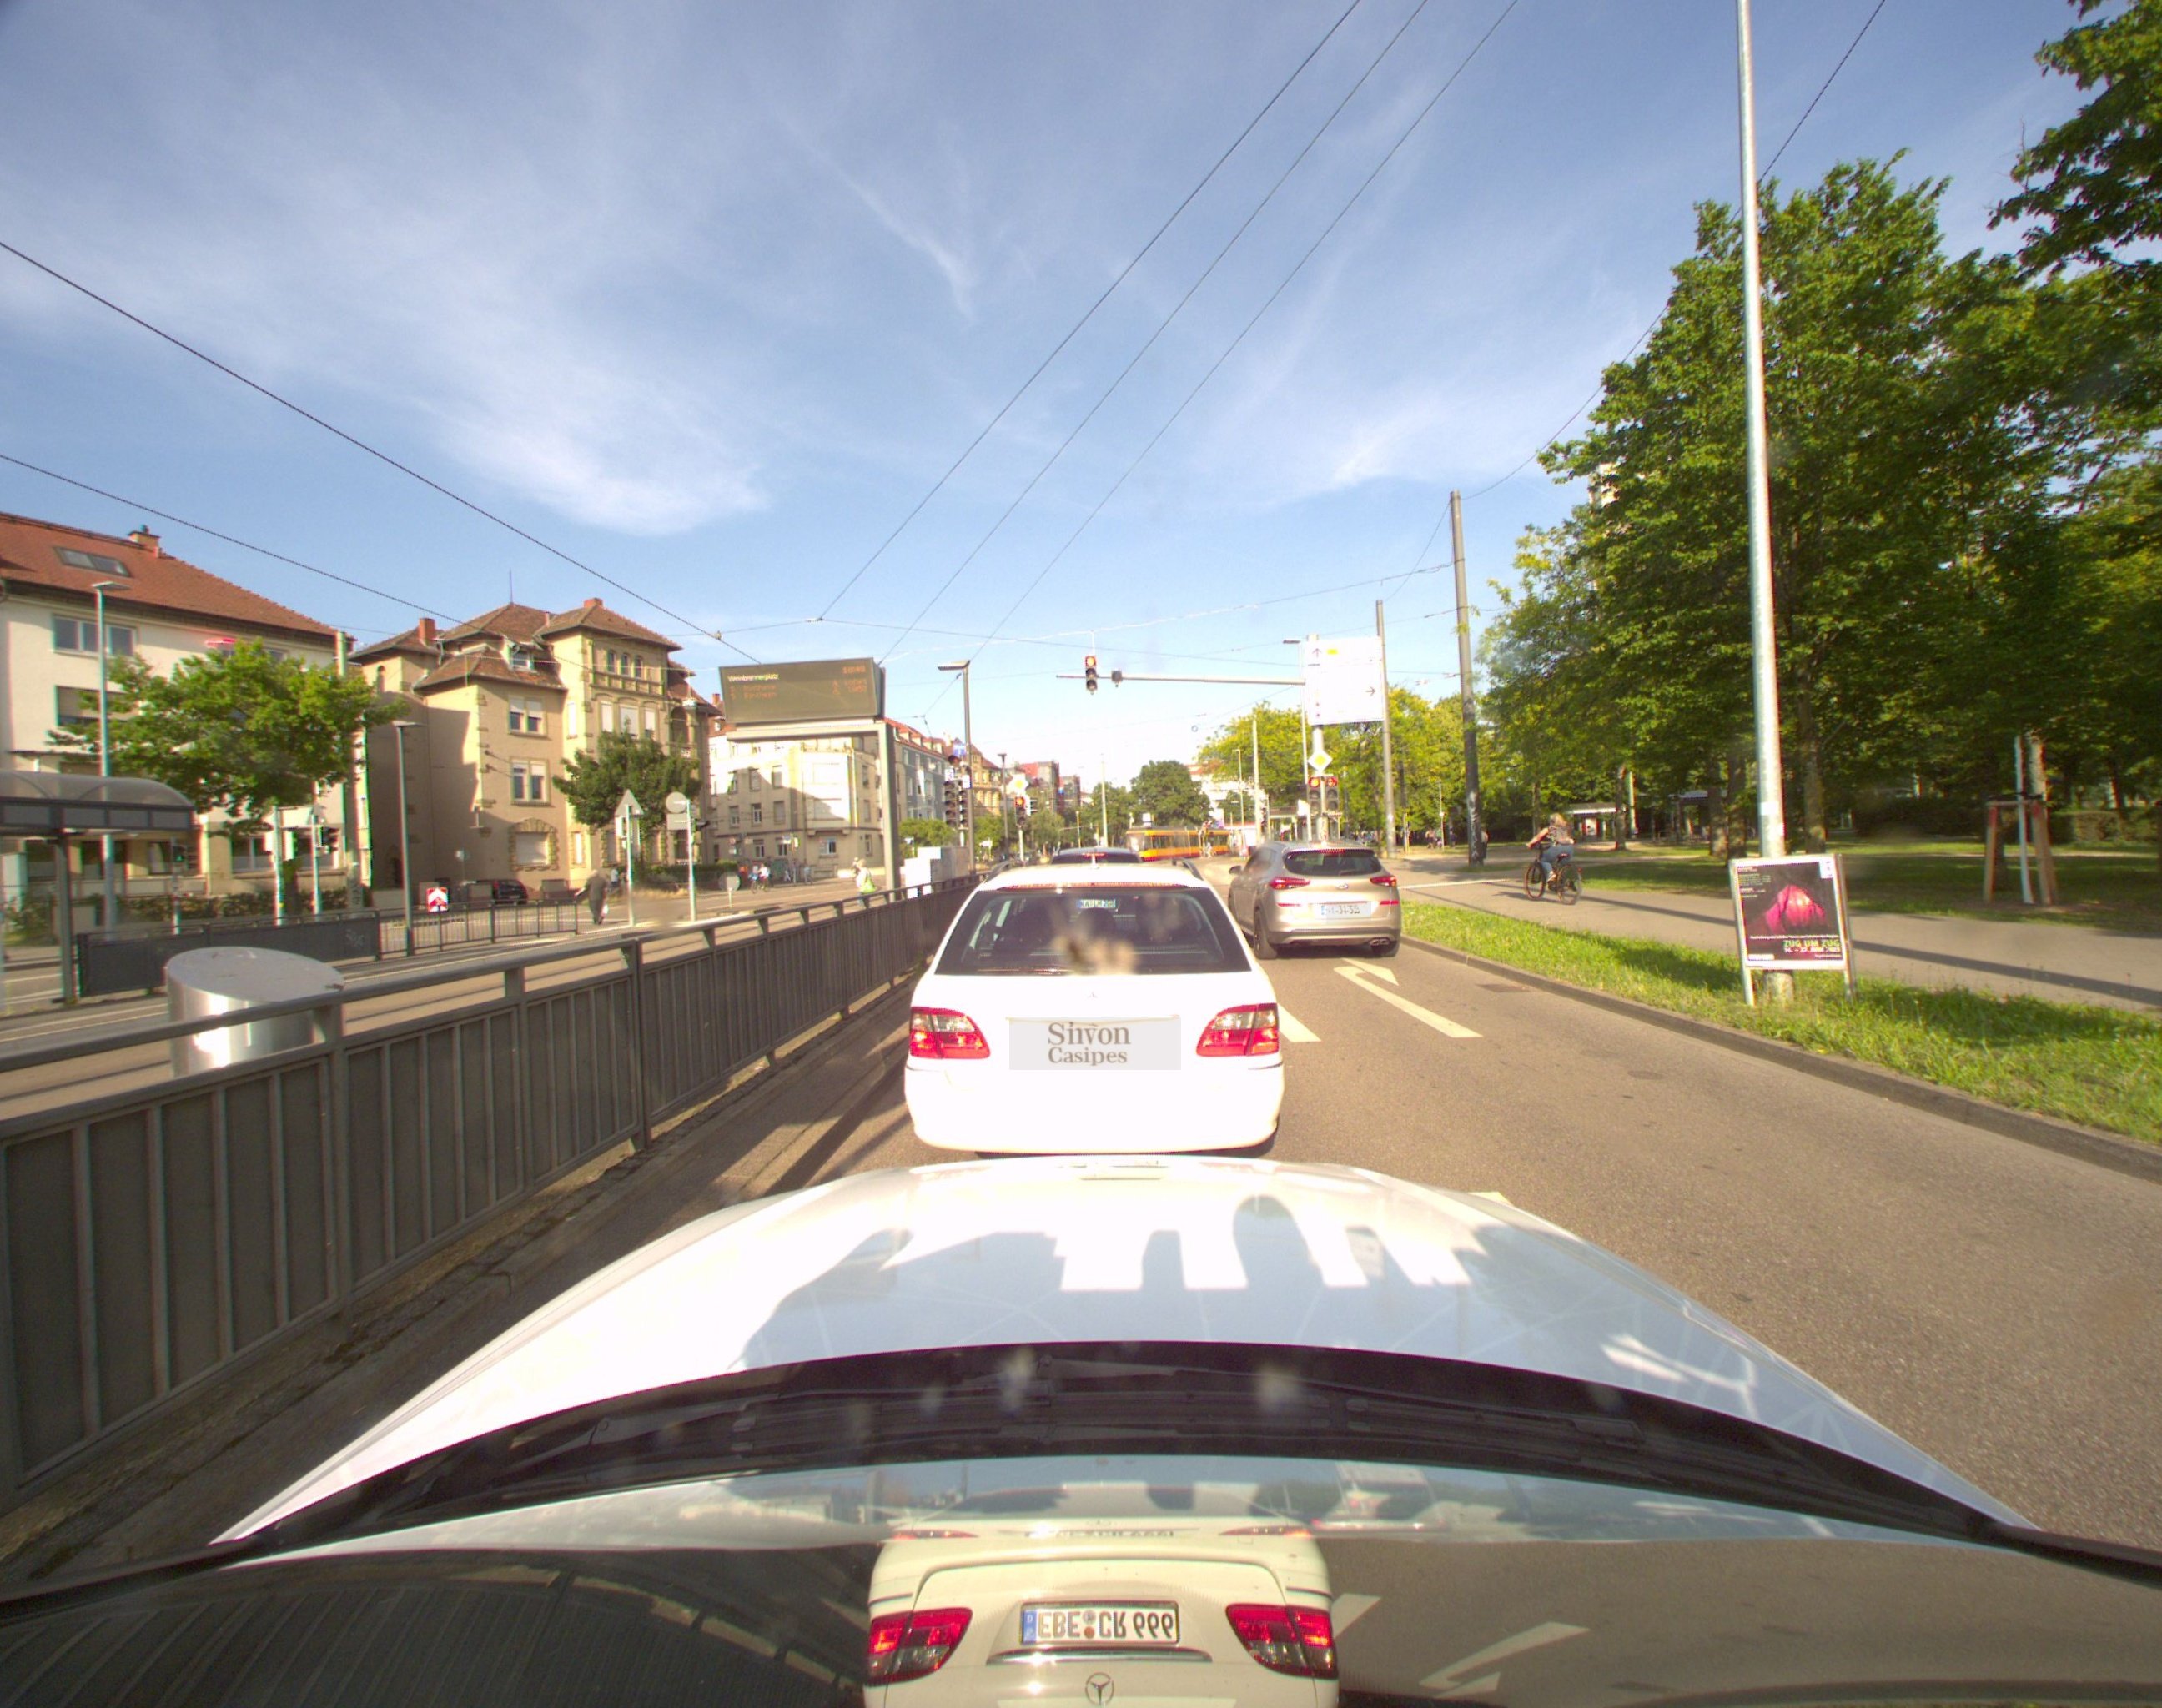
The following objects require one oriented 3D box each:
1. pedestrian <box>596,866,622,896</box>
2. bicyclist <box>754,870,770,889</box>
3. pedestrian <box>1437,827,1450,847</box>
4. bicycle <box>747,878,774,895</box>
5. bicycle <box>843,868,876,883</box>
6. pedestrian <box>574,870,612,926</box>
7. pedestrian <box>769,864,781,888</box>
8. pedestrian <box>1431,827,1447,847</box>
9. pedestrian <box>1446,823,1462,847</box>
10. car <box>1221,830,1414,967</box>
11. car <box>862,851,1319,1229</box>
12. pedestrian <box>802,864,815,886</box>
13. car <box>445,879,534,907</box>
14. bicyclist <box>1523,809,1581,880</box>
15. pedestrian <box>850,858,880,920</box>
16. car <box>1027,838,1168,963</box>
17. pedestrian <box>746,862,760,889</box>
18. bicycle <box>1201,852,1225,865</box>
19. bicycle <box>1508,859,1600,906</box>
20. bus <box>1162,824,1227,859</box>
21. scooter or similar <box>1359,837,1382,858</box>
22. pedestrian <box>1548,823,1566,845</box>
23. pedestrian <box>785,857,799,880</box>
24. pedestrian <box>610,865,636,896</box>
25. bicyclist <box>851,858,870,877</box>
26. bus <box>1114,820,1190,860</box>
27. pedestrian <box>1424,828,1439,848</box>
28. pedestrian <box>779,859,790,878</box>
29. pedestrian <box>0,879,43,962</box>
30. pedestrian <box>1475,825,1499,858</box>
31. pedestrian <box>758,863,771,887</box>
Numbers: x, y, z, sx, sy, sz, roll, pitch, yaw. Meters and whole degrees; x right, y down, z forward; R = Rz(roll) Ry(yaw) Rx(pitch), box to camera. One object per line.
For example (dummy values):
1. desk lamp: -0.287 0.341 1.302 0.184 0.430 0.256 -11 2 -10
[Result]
1. pedestrian: -24.990 1.420 43.131 0.822 1.552 0.786 -3 0 23
2. bicyclist: -17.980 1.428 45.905 0.509 1.044 0.682 -3 0 14
3. pedestrian: 27.747 -1.306 62.388 0.805 1.487 0.705 -3 0 26
4. bicycle: -17.998 1.802 45.772 0.522 0.834 1.692 -3 0 13
5. bicycle: -15.584 1.487 57.419 0.778 0.914 3.010 -3 0 15
6. pedestrian: -15.001 1.351 25.021 0.798 1.645 0.748 -3 0 -42
7. pedestrian: -19.662 1.415 52.377 0.530 1.500 0.391 -3 0 16
8. pedestrian: 28.082 -1.326 63.893 0.813 1.487 0.698 -3 0 -9
9. pedestrian: 29.097 -1.480 63.514 0.797 1.785 0.838 -3 0 -3
10. car: 3.324 0.564 12.217 1.878 1.651 3.649 -3 0 2
11. car: 0.089 0.737 5.065 1.789 1.470 3.649 -1 0 2
12. pedestrian: -19.368 1.477 57.876 0.626 1.541 0.711 -3 0 1
13. car: -29.471 1.906 40.563 4.066 1.310 1.774 -1 -1 24
14. bicyclist: 8.741 -0.175 15.135 0.532 1.262 0.869 -3 0 2
15. pedestrian: -5.763 0.910 21.736 0.611 1.599 0.632 -3 0 -5
16. car: 0.285 0.618 12.700 1.878 1.651 3.649 0 0 2
17. pedestrian: -20.544 1.325 50.998 0.506 1.626 0.609 -3 0 3
18. bicycle: 13.790 0.458 85.113 2.467 1.213 0.809 -3 0 9
19. bicycle: 8.778 0.500 15.220 0.493 0.757 2.169 -4 0 2
20. bus: 12.857 -1.272 90.714 3.079 3.606 12.666 -1 -1 27
21. scooter or similar: 16.135 -0.358 45.415 0.421 1.117 1.322 -3 0 -18
22. pedestrian: 35.781 -1.487 61.200 0.831 1.636 0.804 -3 0 8
23. pedestrian: -25.649 1.269 72.334 0.768 2.013 0.790 -3 0 17
24. pedestrian: -23.997 1.390 42.707 0.822 1.552 0.786 -3 0 23
25. bicyclist: -15.562 0.950 57.499 0.757 1.262 1.179 -3 0 15
26. bus: 7.182 -1.261 79.509 3.080 3.606 12.447 -1 -1 26
27. pedestrian: 27.234 -1.244 63.304 0.820 1.487 0.692 -3 0 -40
28. pedestrian: -26.008 1.250 71.433 0.615 1.660 0.589 -3 0 17
29. pedestrian: -23.283 1.444 17.640 0.545 1.746 0.764 -3 0 3
30. pedestrian: 20.487 -0.618 41.086 0.758 1.636 0.800 -3 0 -38
31. pedestrian: -19.812 1.321 50.952 0.434 1.500 0.551 -3 0 16
